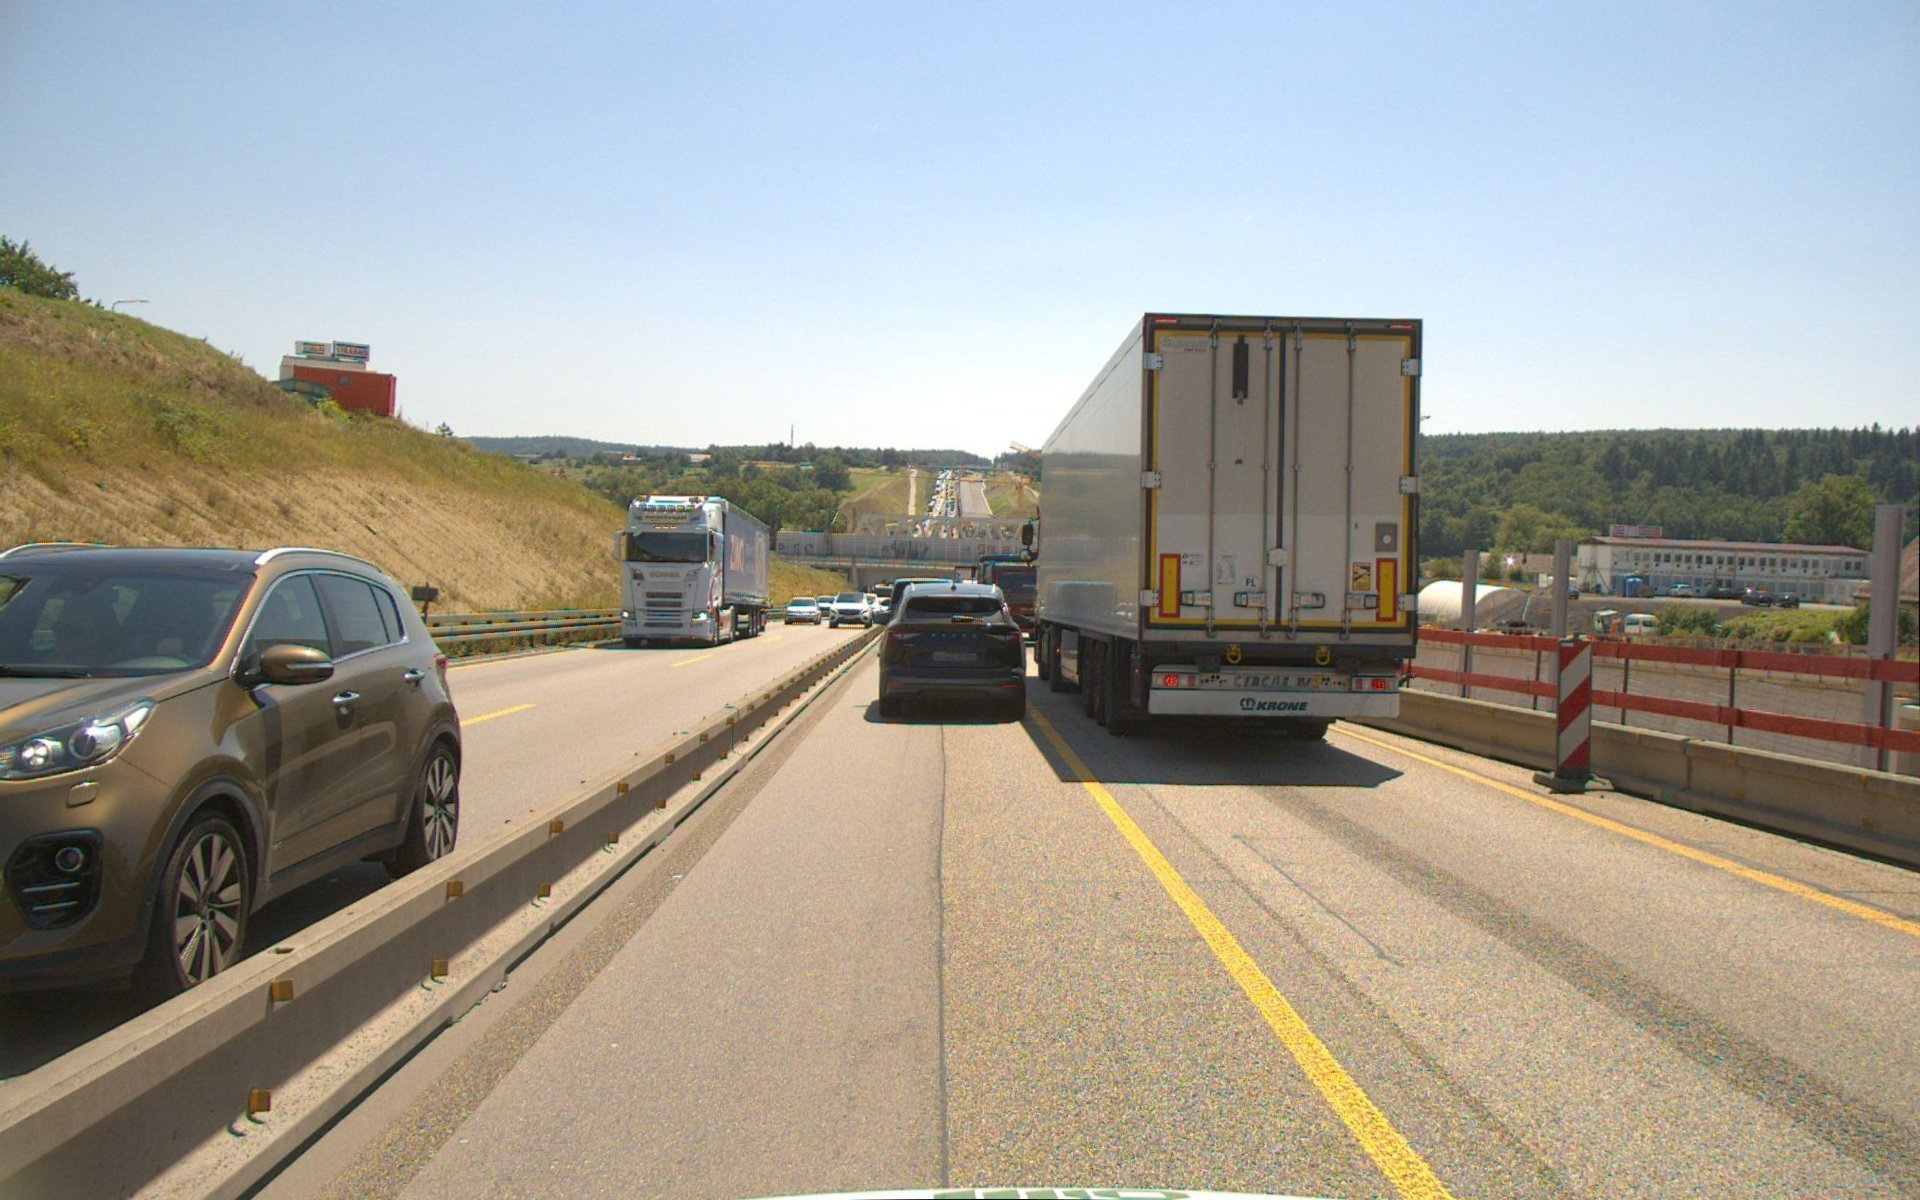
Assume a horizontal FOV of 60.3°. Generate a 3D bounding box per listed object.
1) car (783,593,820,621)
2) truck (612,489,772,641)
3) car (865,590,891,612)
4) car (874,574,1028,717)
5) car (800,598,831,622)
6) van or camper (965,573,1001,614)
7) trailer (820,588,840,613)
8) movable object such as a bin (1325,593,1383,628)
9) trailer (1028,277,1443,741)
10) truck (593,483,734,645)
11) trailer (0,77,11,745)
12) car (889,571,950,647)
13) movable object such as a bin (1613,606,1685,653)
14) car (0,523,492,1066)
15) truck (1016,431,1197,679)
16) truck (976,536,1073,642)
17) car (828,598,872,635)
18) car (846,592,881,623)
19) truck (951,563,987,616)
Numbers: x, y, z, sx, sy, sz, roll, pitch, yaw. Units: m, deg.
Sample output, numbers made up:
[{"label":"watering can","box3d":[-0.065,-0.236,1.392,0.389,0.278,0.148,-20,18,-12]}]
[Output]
[{"label":"car","box3d":[-8.214,0.361,85.872,1.667,1.403,3.965,1,0,-2]},{"label":"truck","box3d":[-8.318,-1.014,53.413,3.177,4.232,13.974,1,0,-1]},{"label":"car","box3d":[-5.835,0.088,117.754,1.769,1.503,4.278,1,0,-2]},{"label":"car","box3d":[-0.131,0.509,20.903,1.764,1.648,3.297,1,1,-1]},{"label":"car","box3d":[-10.100,0.699,115.909,1.861,1.612,4.512,1,0,-2]},{"label":"van or camper","box3d":[1.335,-0.413,97.663,1.953,2.283,4.000,2,0,-1]},{"label":"trailer","box3d":[-11.198,0.039,142.993,1.614,2.061,4.267,0,0,-3]},{"label":"movable object such as a bin","box3d":[34.949,0.870,147.121,2.829,2.960,9.478,1,0,0]},{"label":"trailer","box3d":[2.766,-0.784,21.846,2.745,4.129,14.112,0,0,-2]},{"label":"truck","box3d":[-8.110,-0.959,45.774,3.173,4.232,4.246,1,0,-2]},{"label":"trailer","box3d":[-6.804,-0.833,2.658,2.754,4.361,14.031,1,0,-2]},{"label":"car","box3d":[-0.983,0.212,41.651,1.444,1.826,3.297,0,0,0]},{"label":"movable object such as a bin","box3d":[35.463,1.489,85.279,1.953,2.278,4.151,1,0,0]},{"label":"car","box3d":[-3.441,0.552,6.982,1.811,1.614,4.173,1,0,-2]},{"label":"truck","box3d":[2.541,-0.748,30.216,2.720,4.129,4.903,0,0,-2]},{"label":"truck","box3d":[2.022,-0.317,56.726,2.756,3.190,12.836,1,0,0]},{"label":"car","box3d":[-5.060,0.747,76.644,1.775,1.666,4.362,0,0,0]},{"label":"car","box3d":[-5.594,0.399,96.027,1.853,1.738,4.560,1,0,-2]},{"label":"truck","box3d":[0.669,-0.879,132.185,2.467,4.028,7.597,2,0,-2]}]
